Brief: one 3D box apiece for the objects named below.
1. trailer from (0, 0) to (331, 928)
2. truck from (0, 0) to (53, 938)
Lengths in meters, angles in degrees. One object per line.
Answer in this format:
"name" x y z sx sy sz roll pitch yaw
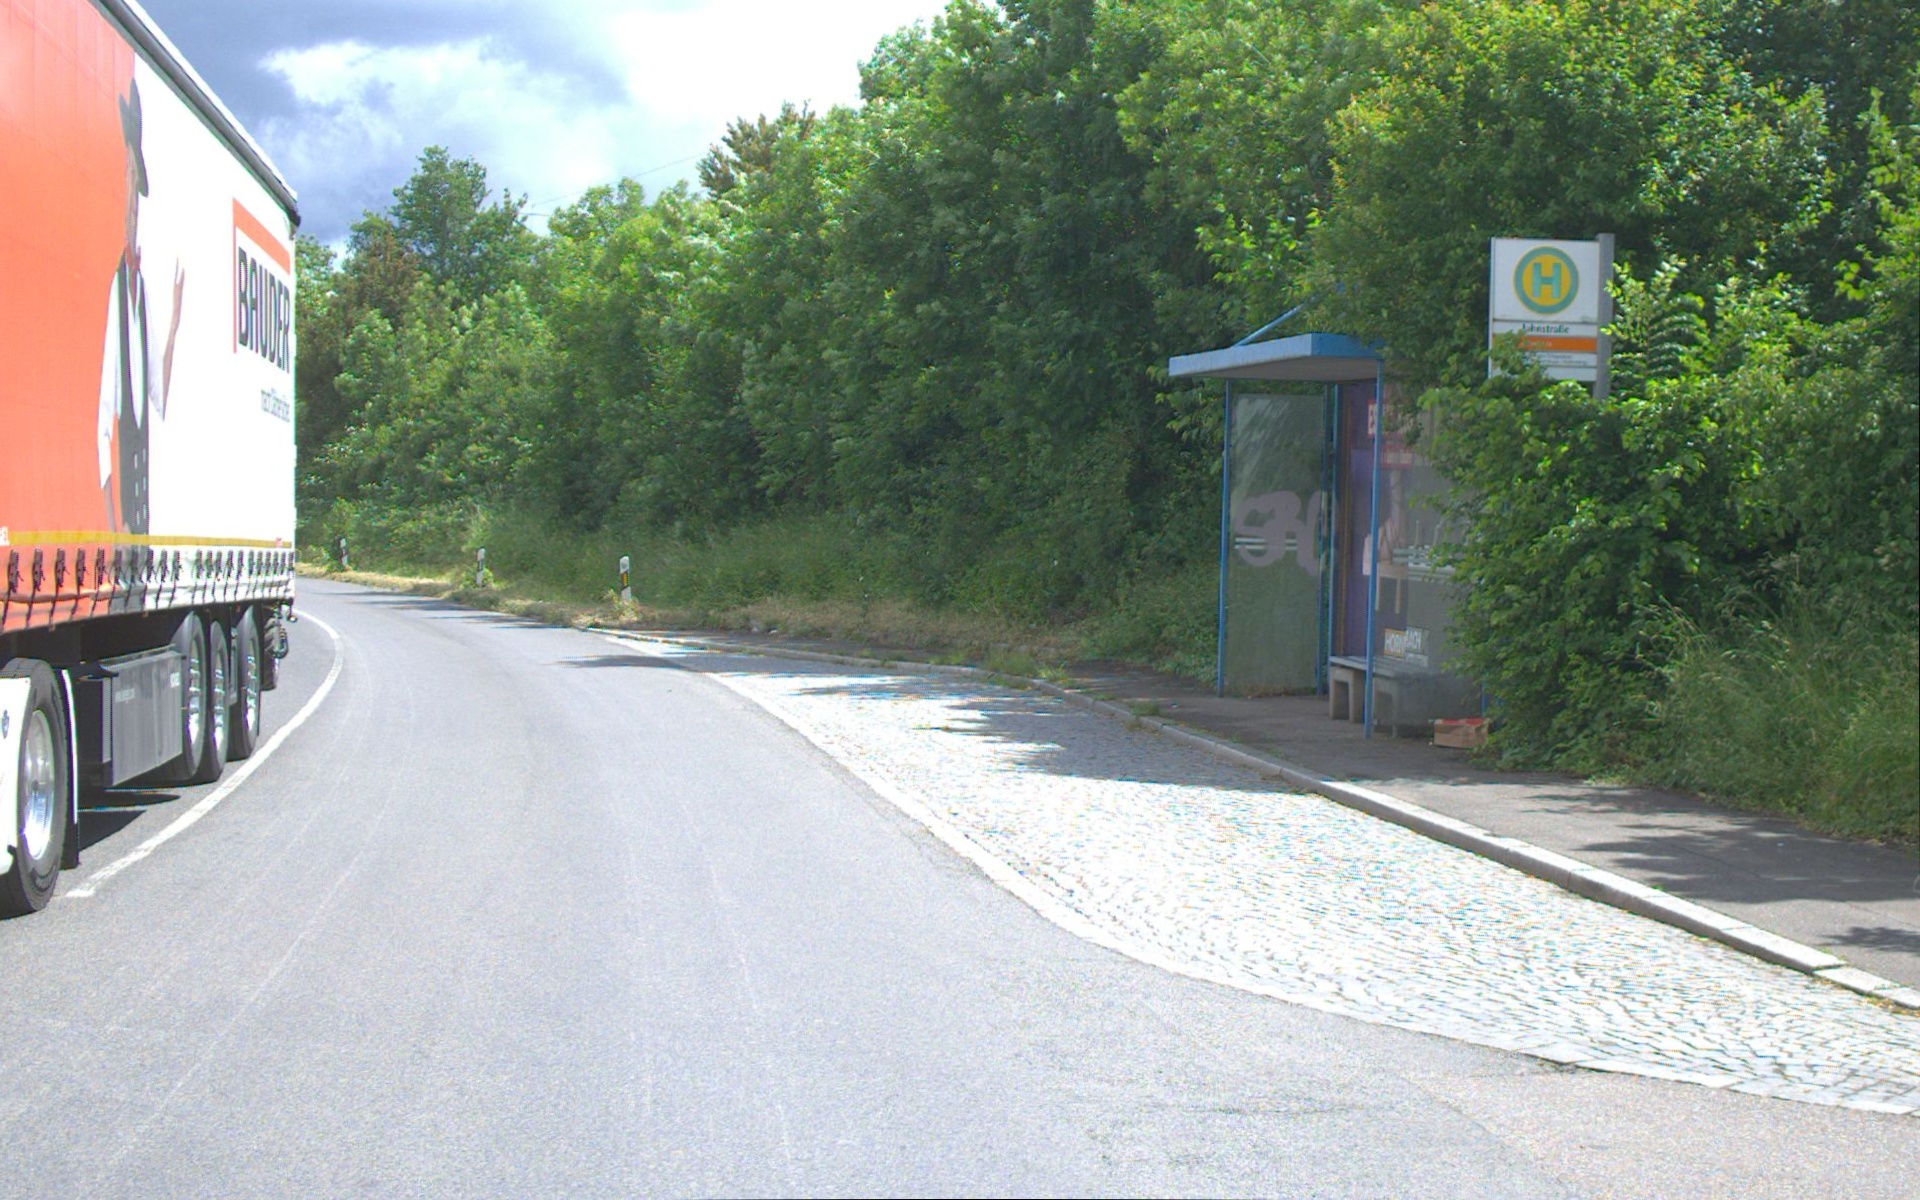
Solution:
"trailer" -5.469 -1.026 18.569 2.771 4.130 15.354 2 1 -6
"truck" -4.705 -0.794 10.814 2.771 4.105 4.987 2 1 -6
